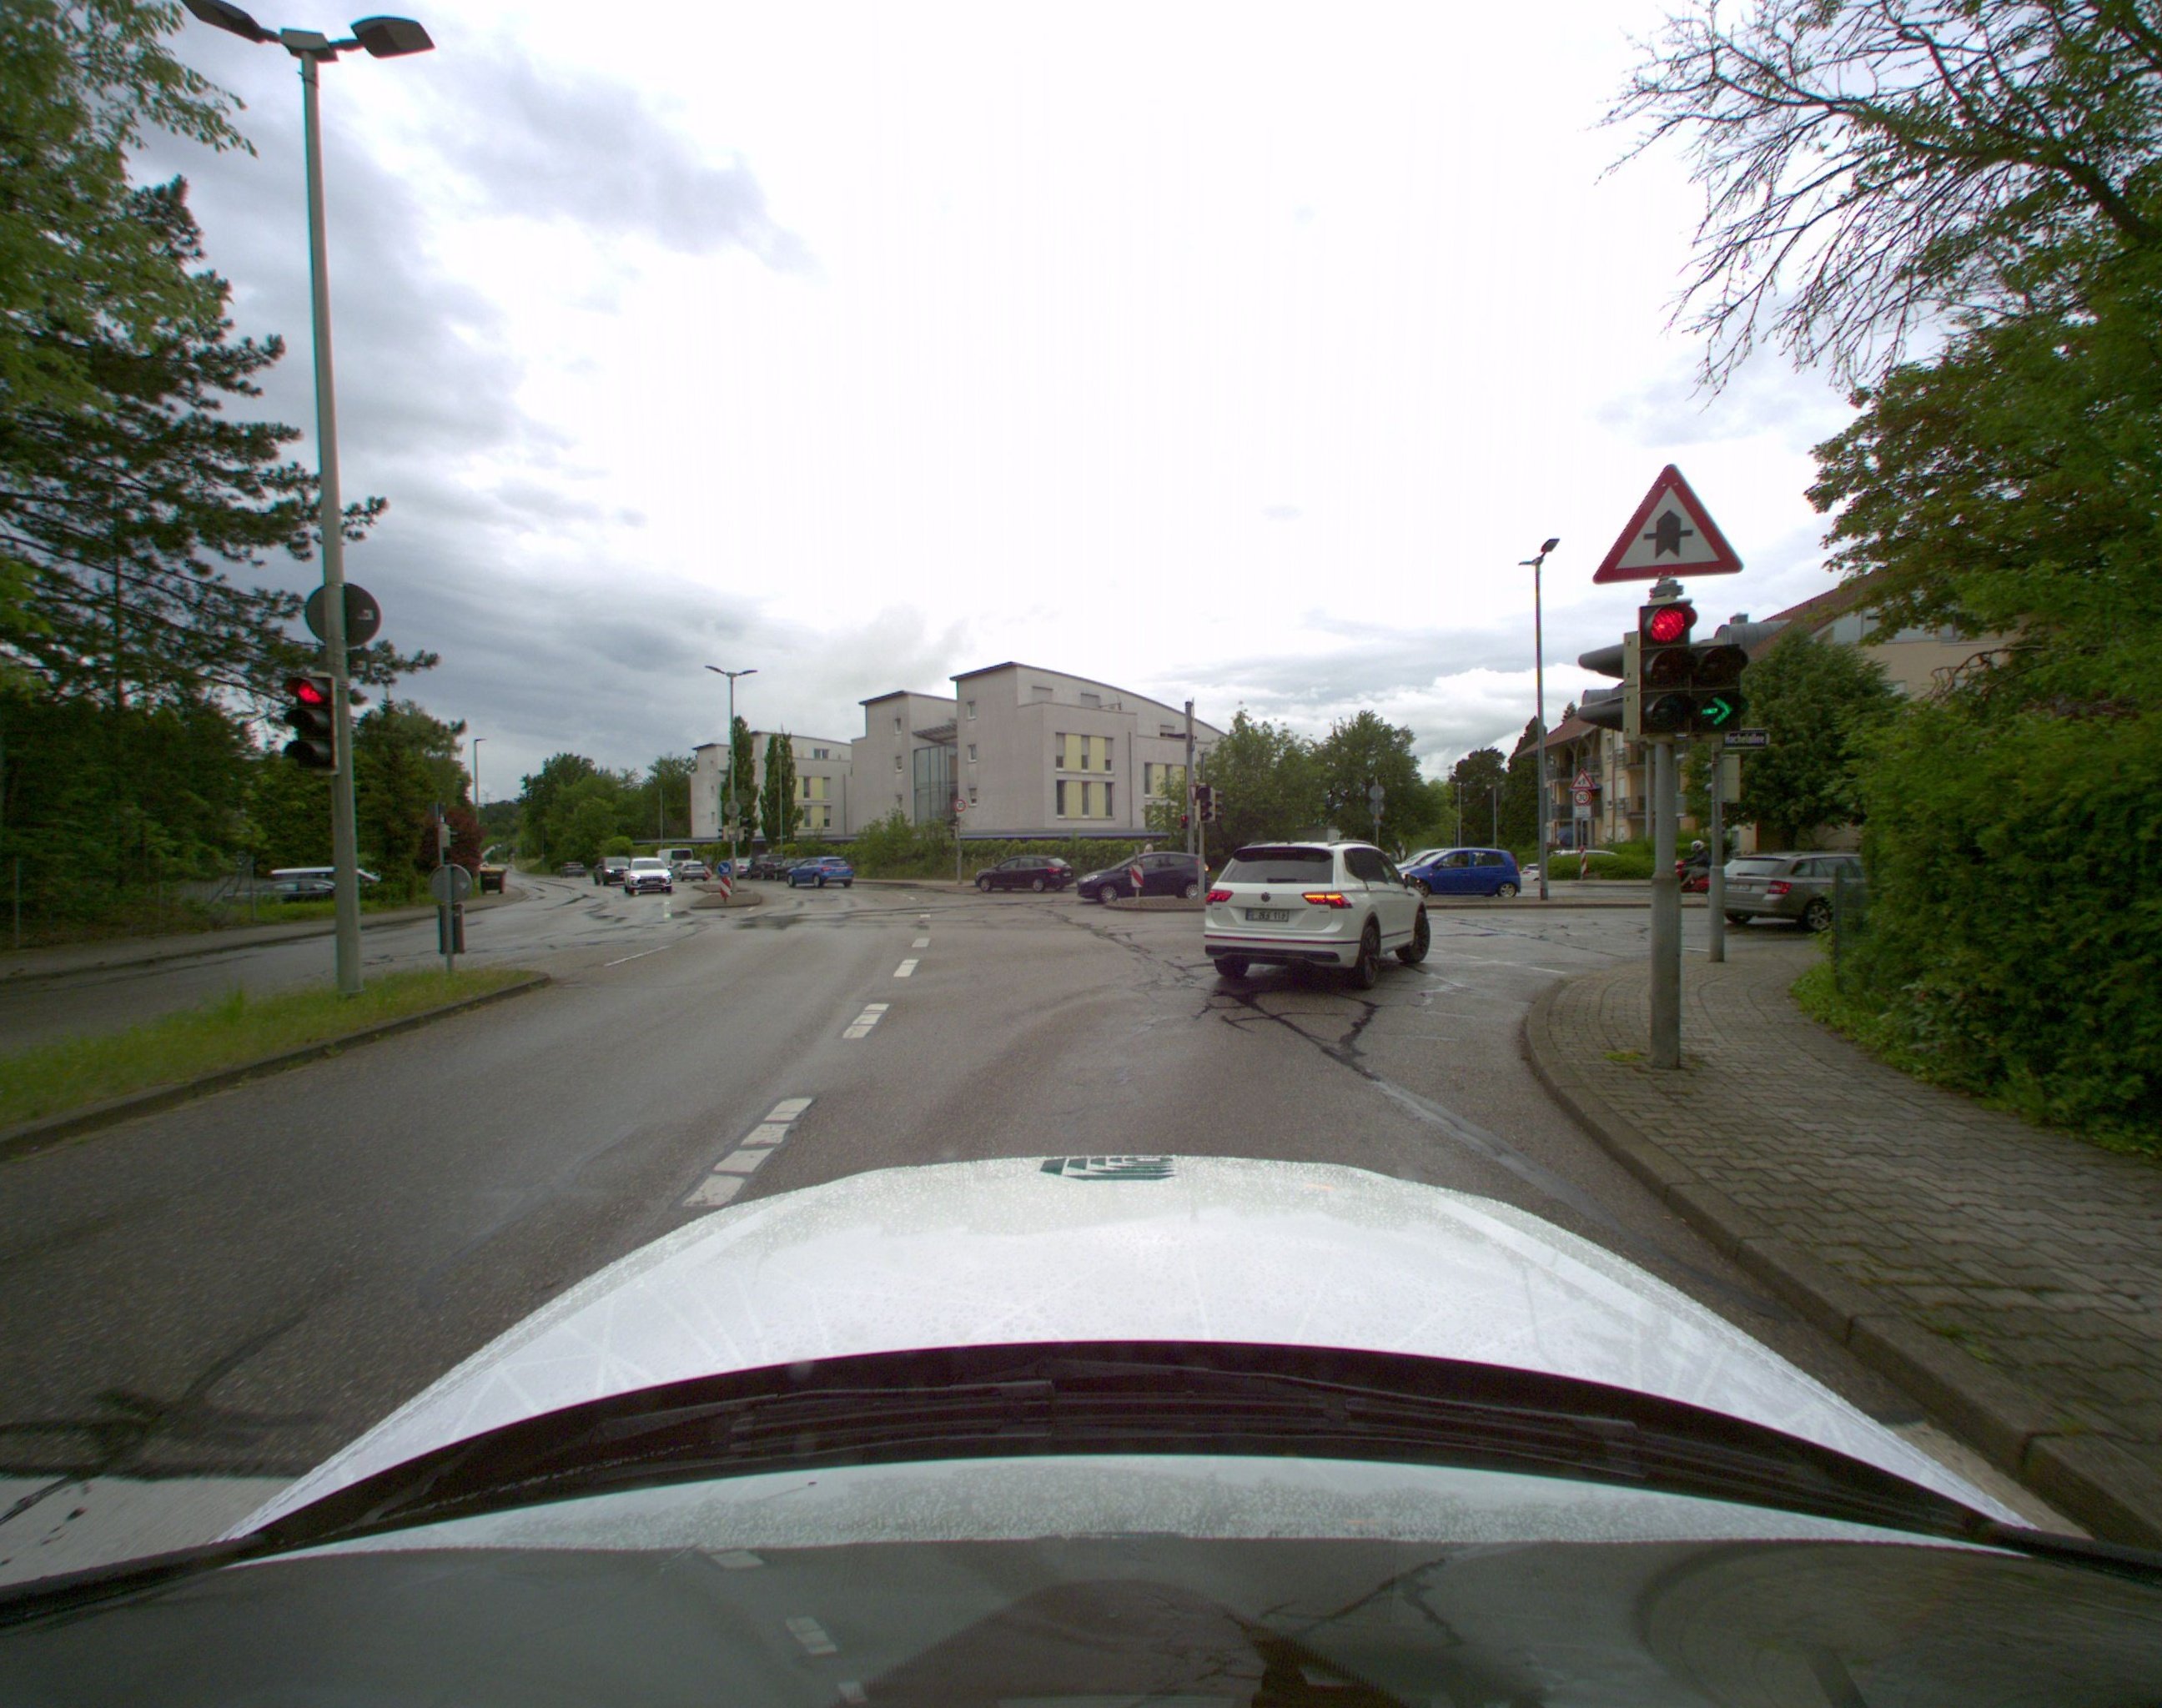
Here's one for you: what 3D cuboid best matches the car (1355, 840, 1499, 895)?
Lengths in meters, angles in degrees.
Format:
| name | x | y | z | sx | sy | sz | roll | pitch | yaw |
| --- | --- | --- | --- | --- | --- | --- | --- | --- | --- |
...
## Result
| name | x | y | z | sx | sy | sz | roll | pitch | yaw |
| --- | --- | --- | --- | --- | --- | --- | --- | --- | --- |
| car | 11.654 | 0.429 | 27.611 | 3.979 | 1.669 | 1.998 | 0 | 3 | -4 |

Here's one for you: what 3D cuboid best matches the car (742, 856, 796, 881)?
| name | x | y | z | sx | sy | sz | roll | pitch | yaw |
| --- | --- | --- | --- | --- | --- | --- | --- | --- | --- |
| car | -20.963 | 0.945 | 54.597 | 2.011 | 1.555 | 3.952 | -3 | 2 | -42 |

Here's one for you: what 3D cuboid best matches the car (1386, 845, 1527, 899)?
| name | x | y | z | sx | sy | sz | roll | pitch | yaw |
| --- | --- | --- | --- | --- | --- | --- | --- | --- | --- |
| car | 10.699 | 0.489 | 23.382 | 3.410 | 1.456 | 1.528 | 0 | 2 | 7 |

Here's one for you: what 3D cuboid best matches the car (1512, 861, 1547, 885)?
| name | x | y | z | sx | sy | sz | roll | pitch | yaw |
| --- | --- | --- | --- | --- | --- | --- | --- | --- | --- |
| car | 29.804 | 1.237 | 54.211 | 1.745 | 1.408 | 3.884 | -2 | 0 | 24 |

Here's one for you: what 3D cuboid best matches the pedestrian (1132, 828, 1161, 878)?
| name | x | y | z | sx | sy | sz | roll | pitch | yaw |
| --- | --- | --- | --- | --- | --- | --- | --- | --- | --- |
| pedestrian | 2.711 | -0.042 | 33.694 | 0.791 | 2.013 | 0.855 | 1 | 2 | 42 |

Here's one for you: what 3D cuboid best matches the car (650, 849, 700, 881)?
| name | x | y | z | sx | sy | sz | roll | pitch | yaw |
| --- | --- | --- | --- | --- | --- | --- | --- | --- | --- |
| car | -34.590 | 0.987 | 69.321 | 2.614 | 2.413 | 5.194 | -2 | -1 | -40 |

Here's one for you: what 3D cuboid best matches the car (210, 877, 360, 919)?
| name | x | y | z | sx | sy | sz | roll | pitch | yaw |
| --- | --- | --- | --- | --- | --- | --- | --- | --- | --- |
| car | -28.964 | 1.568 | 29.791 | 3.600 | 1.241 | 1.636 | -1 | 1 | -32 |

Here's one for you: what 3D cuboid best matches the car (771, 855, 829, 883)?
| name | x | y | z | sx | sy | sz | roll | pitch | yaw |
| --- | --- | --- | --- | --- | --- | --- | --- | --- | --- |
| car | -17.713 | 0.914 | 51.228 | 2.011 | 1.555 | 3.952 | -3 | 2 | -42 |

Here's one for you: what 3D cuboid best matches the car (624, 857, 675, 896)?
| name | x | y | z | sx | sy | sz | roll | pitch | yaw |
| --- | --- | --- | --- | --- | --- | --- | --- | --- | --- |
| car | -20.309 | 1.006 | 38.278 | 2.006 | 1.639 | 3.963 | -1 | 1 | -29 |

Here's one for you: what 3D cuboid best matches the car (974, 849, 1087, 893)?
| name | x | y | z | sx | sy | sz | roll | pitch | yaw |
| --- | --- | --- | --- | --- | --- | --- | --- | --- | --- |
| car | -1.975 | 0.613 | 32.117 | 3.951 | 1.551 | 2.012 | 0 | 3 | 24 |

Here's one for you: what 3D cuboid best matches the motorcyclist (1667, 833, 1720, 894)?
| name | x | y | z | sx | sy | sz | roll | pitch | yaw |
| --- | --- | --- | --- | --- | --- | --- | --- | --- | --- |
| motorcyclist | 16.831 | 0.247 | 22.384 | 0.929 | 1.624 | 0.776 | 1 | 0 | 16 |

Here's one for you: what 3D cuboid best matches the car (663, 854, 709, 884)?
| name | x | y | z | sx | sy | sz | roll | pitch | yaw |
| --- | --- | --- | --- | --- | --- | --- | --- | --- | --- |
| car | -26.897 | 0.979 | 55.346 | 2.010 | 1.757 | 3.956 | -2 | 4 | -38 |

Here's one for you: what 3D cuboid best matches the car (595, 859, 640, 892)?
| name | x | y | z | sx | sy | sz | roll | pitch | yaw |
| --- | --- | --- | --- | --- | --- | --- | --- | --- | --- |
| car | -29.288 | 1.311 | 51.404 | 2.009 | 1.815 | 3.956 | -2 | 2 | -36 |

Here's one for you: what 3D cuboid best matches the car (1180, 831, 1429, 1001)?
| name | x | y | z | sx | sy | sz | roll | pitch | yaw |
| --- | --- | --- | --- | --- | --- | --- | --- | --- | --- |
| car | 3.096 | 0.599 | 10.564 | 1.902 | 1.722 | 4.292 | 1 | 1 | 33 |

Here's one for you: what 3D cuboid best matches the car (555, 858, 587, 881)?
| name | x | y | z | sx | sy | sz | roll | pitch | yaw |
| --- | --- | --- | --- | --- | --- | --- | --- | --- | --- |
| car | -52.324 | 1.595 | 83.490 | 1.992 | 2.013 | 3.952 | -2 | 4 | -43 |

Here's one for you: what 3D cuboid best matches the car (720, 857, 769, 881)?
| name | x | y | z | sx | sy | sz | roll | pitch | yaw |
| --- | --- | --- | --- | --- | --- | --- | --- | --- | --- |
| car | -24.023 | 1.017 | 58.069 | 2.011 | 1.555 | 3.952 | -3 | 2 | -42 |

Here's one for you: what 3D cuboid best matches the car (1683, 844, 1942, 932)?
| name | x | y | z | sx | sy | sz | roll | pitch | yaw |
| --- | --- | --- | --- | --- | --- | --- | --- | --- | --- |
| car | 14.353 | 0.606 | 16.060 | 3.990 | 1.509 | 1.764 | 0 | 3 | -12 |

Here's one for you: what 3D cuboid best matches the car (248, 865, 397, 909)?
| name | x | y | z | sx | sy | sz | roll | pitch | yaw |
| --- | --- | --- | --- | --- | --- | --- | --- | --- | --- |
| car | -30.083 | 1.266 | 32.492 | 4.014 | 1.464 | 1.980 | -1 | 1 | -32 |

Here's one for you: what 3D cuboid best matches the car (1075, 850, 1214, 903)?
| name | x | y | z | sx | sy | sz | roll | pitch | yaw |
| --- | --- | --- | --- | --- | --- | --- | --- | --- | --- |
| car | 1.800 | 0.629 | 24.163 | 3.975 | 1.500 | 1.925 | 0 | 0 | -1 |

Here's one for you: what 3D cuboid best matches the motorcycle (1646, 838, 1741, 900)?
| name | x | y | z | sx | sy | sz | roll | pitch | yaw |
| --- | --- | --- | --- | --- | --- | --- | --- | --- | --- |
| motorcycle | 16.802 | 0.392 | 22.389 | 1.901 | 1.624 | 0.801 | 1 | 0 | 15 |

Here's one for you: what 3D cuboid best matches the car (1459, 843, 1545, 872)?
| name | x | y | z | sx | sy | sz | roll | pitch | yaw |
| --- | --- | --- | --- | --- | --- | --- | --- | --- | --- |
| car | 35.282 | 0.269 | 68.494 | 5.957 | 2.200 | 2.864 | 2 | 2 | 14 |

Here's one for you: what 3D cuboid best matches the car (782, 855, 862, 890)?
| name | x | y | z | sx | sy | sz | roll | pitch | yaw |
| --- | --- | --- | --- | --- | --- | --- | --- | --- | --- |
| car | -12.918 | 0.886 | 40.546 | 3.949 | 1.555 | 2.013 | -1 | 2 | 42 |

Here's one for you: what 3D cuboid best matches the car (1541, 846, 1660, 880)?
| name | x | y | z | sx | sy | sz | roll | pitch | yaw |
| --- | --- | --- | --- | --- | --- | --- | --- | --- | --- |
| car | 22.833 | 0.387 | 35.987 | 4.154 | 1.439 | 1.832 | -1 | -1 | 20 |

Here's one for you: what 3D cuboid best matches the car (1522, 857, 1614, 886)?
| name | x | y | z | sx | sy | sz | roll | pitch | yaw |
| --- | --- | --- | --- | --- | --- | --- | --- | --- | --- |
| car | 25.360 | 0.905 | 42.572 | 3.817 | 1.408 | 1.775 | -1 | 0 | 19 |
